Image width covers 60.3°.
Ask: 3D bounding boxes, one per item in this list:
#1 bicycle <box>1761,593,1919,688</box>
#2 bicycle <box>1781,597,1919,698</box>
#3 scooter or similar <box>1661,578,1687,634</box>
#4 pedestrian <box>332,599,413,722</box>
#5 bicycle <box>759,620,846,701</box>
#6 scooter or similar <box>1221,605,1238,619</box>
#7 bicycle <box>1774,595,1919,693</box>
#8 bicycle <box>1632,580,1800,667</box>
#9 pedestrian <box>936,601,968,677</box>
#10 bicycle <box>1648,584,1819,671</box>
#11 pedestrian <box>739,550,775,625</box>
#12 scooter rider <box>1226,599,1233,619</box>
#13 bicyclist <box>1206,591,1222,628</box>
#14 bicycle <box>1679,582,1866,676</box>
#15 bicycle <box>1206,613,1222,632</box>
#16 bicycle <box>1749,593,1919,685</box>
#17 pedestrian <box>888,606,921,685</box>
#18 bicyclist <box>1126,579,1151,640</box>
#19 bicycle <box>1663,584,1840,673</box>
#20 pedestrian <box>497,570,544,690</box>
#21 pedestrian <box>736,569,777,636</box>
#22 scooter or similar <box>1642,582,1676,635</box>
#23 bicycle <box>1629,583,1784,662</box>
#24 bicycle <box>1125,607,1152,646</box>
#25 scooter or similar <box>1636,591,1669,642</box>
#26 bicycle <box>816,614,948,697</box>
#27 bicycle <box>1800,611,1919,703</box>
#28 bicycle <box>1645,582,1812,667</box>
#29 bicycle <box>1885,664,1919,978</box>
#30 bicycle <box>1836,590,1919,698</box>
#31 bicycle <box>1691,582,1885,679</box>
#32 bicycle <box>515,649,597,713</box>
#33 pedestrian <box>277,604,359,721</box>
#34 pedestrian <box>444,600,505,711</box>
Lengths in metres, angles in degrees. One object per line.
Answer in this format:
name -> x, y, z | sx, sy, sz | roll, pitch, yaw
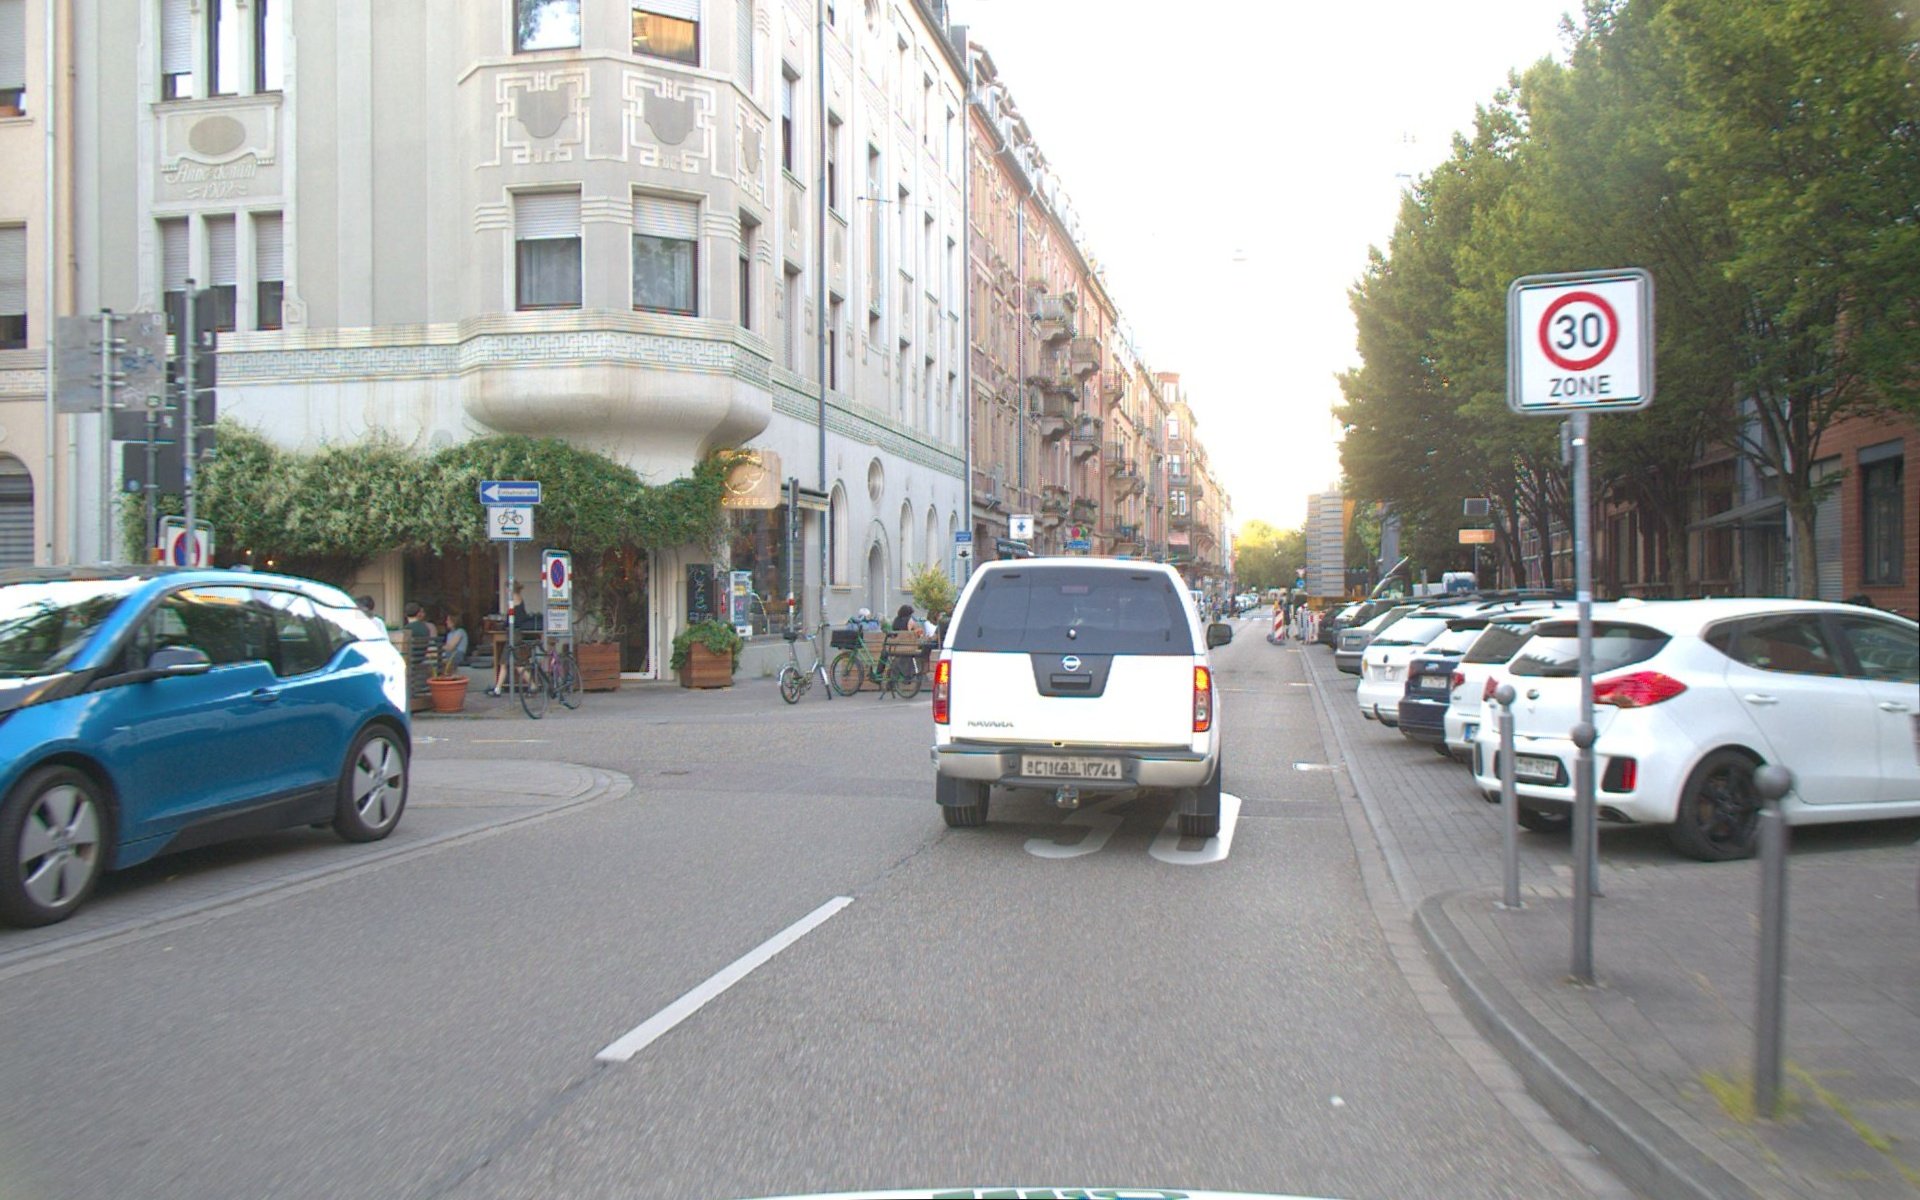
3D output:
bicycle -> 11.578, 0.511, 20.978 | 2.480, 1.187, 0.562 | -1, 0, 14
bicycle -> 11.246, 0.560, 19.769 | 2.480, 1.187, 0.562 | -1, 0, 14
scooter or similar -> 16.602, 0.131, 38.479 | 0.403, 1.239, 1.775 | -6, -2, 22
pedestrian -> -7.676, 0.778, 21.641 | 0.686, 1.567, 0.784 | -1, 0, 10
bicycle -> -2.200, 0.826, 23.233 | 0.415, 1.030, 1.718 | 0, 1, 24
scooter or similar -> 19.912, 0.880, 122.276 | 1.234, 1.046, 0.310 | 0, 0, 34
bicycle -> 11.445, 0.539, 20.358 | 2.480, 1.187, 0.562 | -1, 0, 14
bicycle -> 13.118, 0.414, 28.759 | 2.481, 1.266, 0.600 | -6, -1, 14
pedestrian -> -0.139, 0.713, 30.210 | 0.505, 1.373, 0.540 | 0, 0, 8
bicycle -> 12.773, 0.457, 27.369 | 2.480, 1.403, 0.600 | -1, 0, 14
pedestrian -> -3.755, -0.231, 30.602 | 0.527, 1.373, 0.519 | 0, 0, 12
scooter rider -> 19.935, 0.655, 122.264 | 0.475, 1.448, 0.294 | 0, 0, 34
bicyclist -> 13.173, 0.483, 85.775 | 0.783, 1.882, 0.944 | 0, 0, 9
bicycle -> 12.362, 0.446, 25.241 | 2.480, 1.403, 0.600 | -1, 0, 14
bicycle -> 13.189, 1.168, 85.864 | 0.783, 0.963, 2.006 | 0, 0, 9
bicycle -> 11.708, 0.504, 21.575 | 2.480, 1.187, 0.562 | -1, 0, 14
pedestrian -> -0.979, 0.793, 29.129 | 0.458, 1.373, 0.611 | 0, 0, 10
bicyclist -> 5.087, 0.266, 47.176 | 0.590, 1.714, 1.143 | -1, 0, 11
bicycle -> 12.716, 0.455, 26.644 | 2.480, 1.403, 0.600 | -1, 0, 14
pedestrian -> -6.309, 0.420, 23.748 | 0.605, 1.704, 0.565 | 0, 0, -21
pedestrian -> -3.652, 0.043, 29.706 | 0.545, 1.174, 0.748 | 0, 0, 10
scooter or similar -> 16.957, 0.203, 40.128 | 0.362, 1.239, 1.698 | -4, -2, 34
bicycle -> 13.543, 0.417, 30.078 | 2.480, 1.403, 0.600 | -1, 0, 14
bicycle -> 5.083, 0.751, 47.150 | 0.601, 1.058, 1.905 | -1, 0, 11
scooter or similar -> 17.325, 0.407, 41.373 | 0.362, 1.239, 1.615 | -4, -2, 34
bicycle -> -1.146, 0.782, 23.991 | 2.074, 1.114, 0.499 | 1, 1, 36
bicycle -> 11.182, 0.617, 19.123 | 2.480, 0.976, 0.680 | -4, -1, 14
bicycle -> 12.989, 0.413, 28.017 | 2.480, 1.403, 0.600 | -1, 0, 14
bicycle -> 4.223, 0.740, 5.603 | 1.818, 1.084, 0.446 | -2, 0, 10
bicycle -> 10.900, 0.424, 17.947 | 2.296, 1.118, 0.680 | -4, -1, 14
bicycle -> 12.252, 0.447, 24.534 | 2.480, 1.403, 0.600 | -1, 0, 14
bicycle -> -5.392, 1.067, 22.158 | 0.414, 0.707, 1.781 | 0, 2, 8
pedestrian -> -8.421, 0.809, 21.719 | 0.686, 1.495, 0.784 | -1, 0, 10
pedestrian -> -6.665, 0.750, 22.720 | 0.559, 1.495, 0.645 | -1, 0, 9
